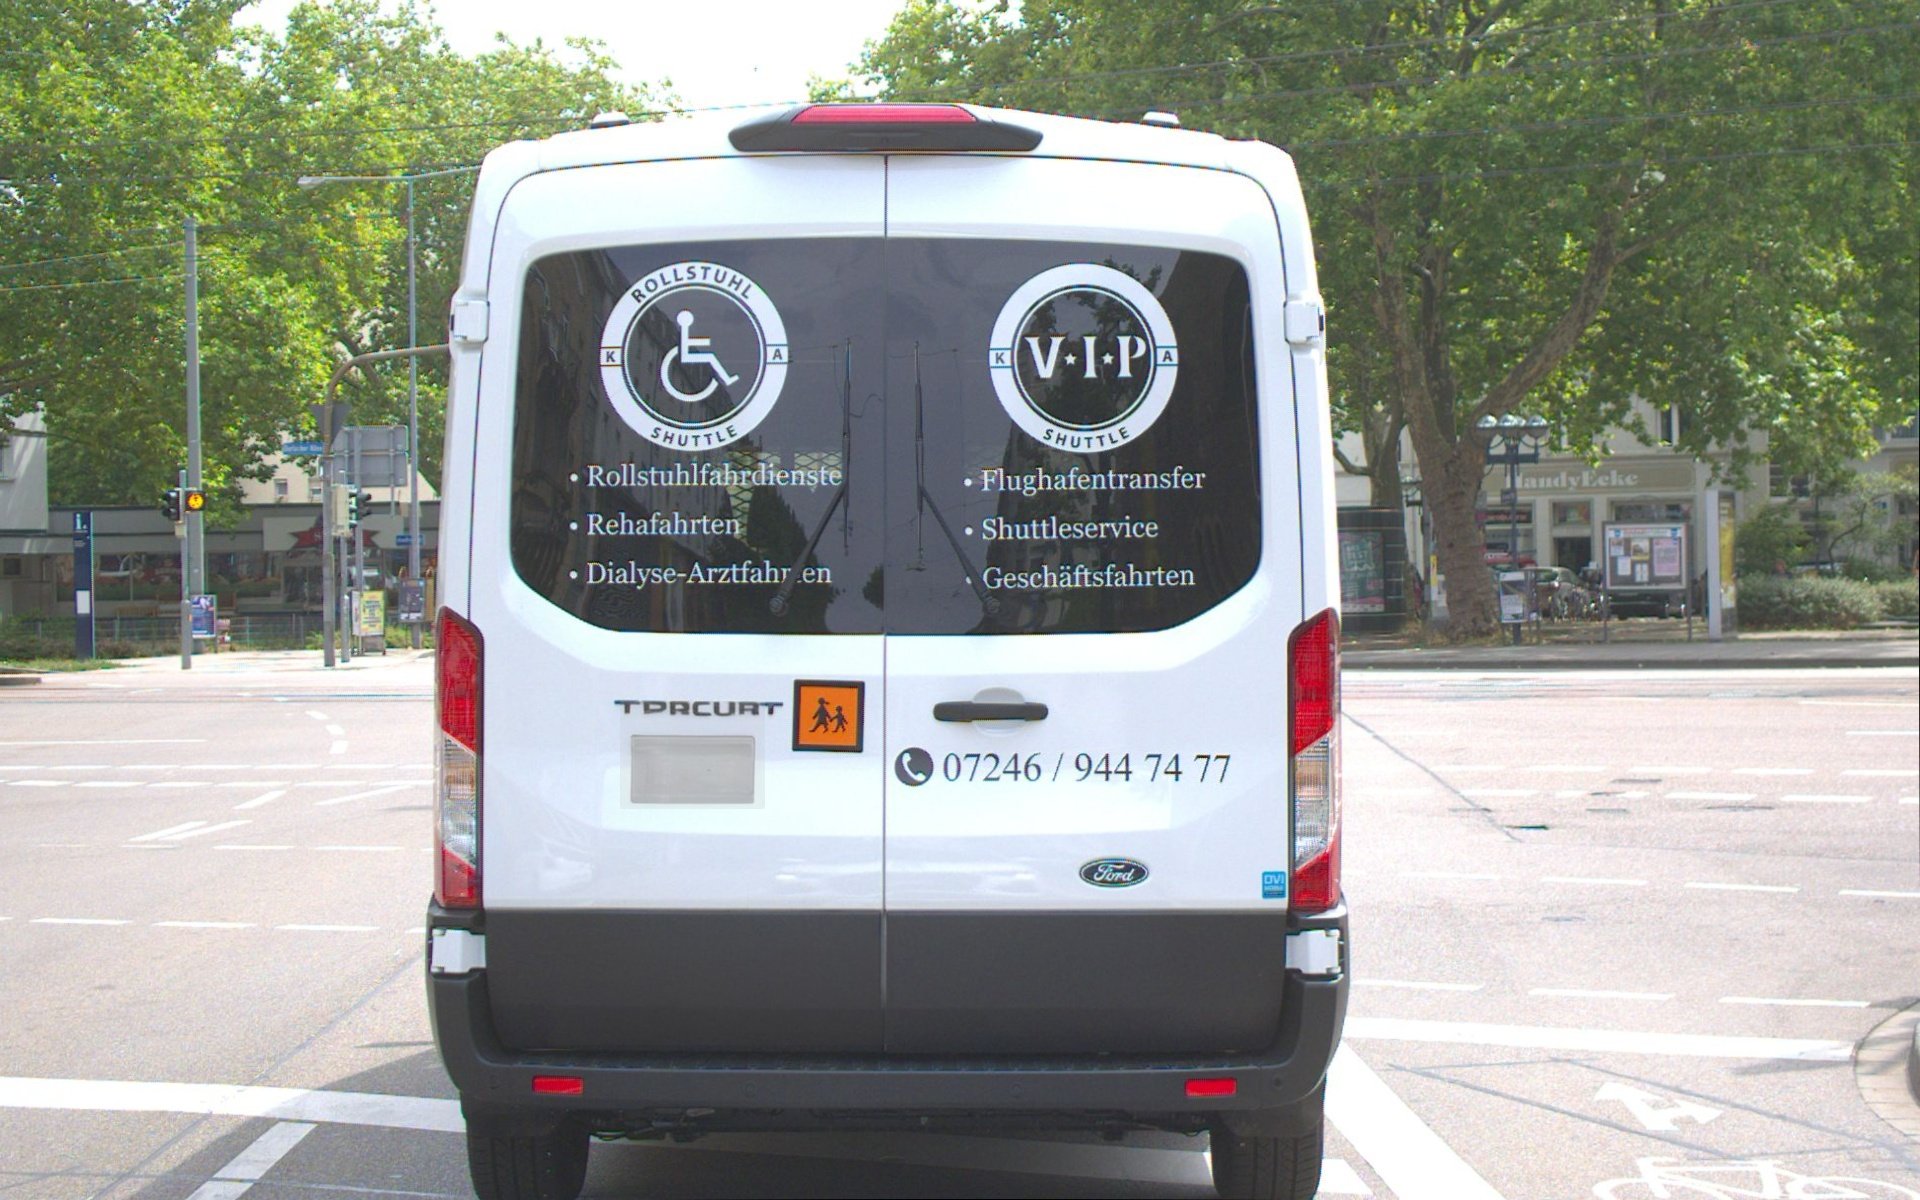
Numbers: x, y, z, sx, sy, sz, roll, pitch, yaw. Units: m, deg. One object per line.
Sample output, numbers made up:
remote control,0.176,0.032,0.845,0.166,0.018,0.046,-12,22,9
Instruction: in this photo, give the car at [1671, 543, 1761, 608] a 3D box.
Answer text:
car,20.197,-0.674,91.960,1.805,1.678,4.000,-1,1,4

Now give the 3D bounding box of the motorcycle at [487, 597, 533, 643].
motorcycle,-9.929,0.433,75.891,0.683,0.968,2.324,-1,1,0

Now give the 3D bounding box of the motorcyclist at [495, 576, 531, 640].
motorcyclist,-9.930,0.169,76.361,0.683,1.391,0.682,-1,1,0

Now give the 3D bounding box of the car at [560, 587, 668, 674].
car,-6.372,0.539,63.582,1.592,1.502,3.807,-1,1,0

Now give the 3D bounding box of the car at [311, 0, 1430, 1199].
car,-0.237,0.084,9.152,2.181,2.639,4.628,-1,0,-2

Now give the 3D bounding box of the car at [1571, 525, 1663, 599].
car,17.728,-1.046,92.906,1.994,1.924,4.000,-1,1,4

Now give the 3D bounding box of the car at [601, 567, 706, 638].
car,-6.532,0.035,73.563,1.743,1.422,4.032,-1,1,2

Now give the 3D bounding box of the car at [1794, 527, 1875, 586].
car,25.600,-1.277,100.572,1.806,1.678,3.996,-1,1,22
